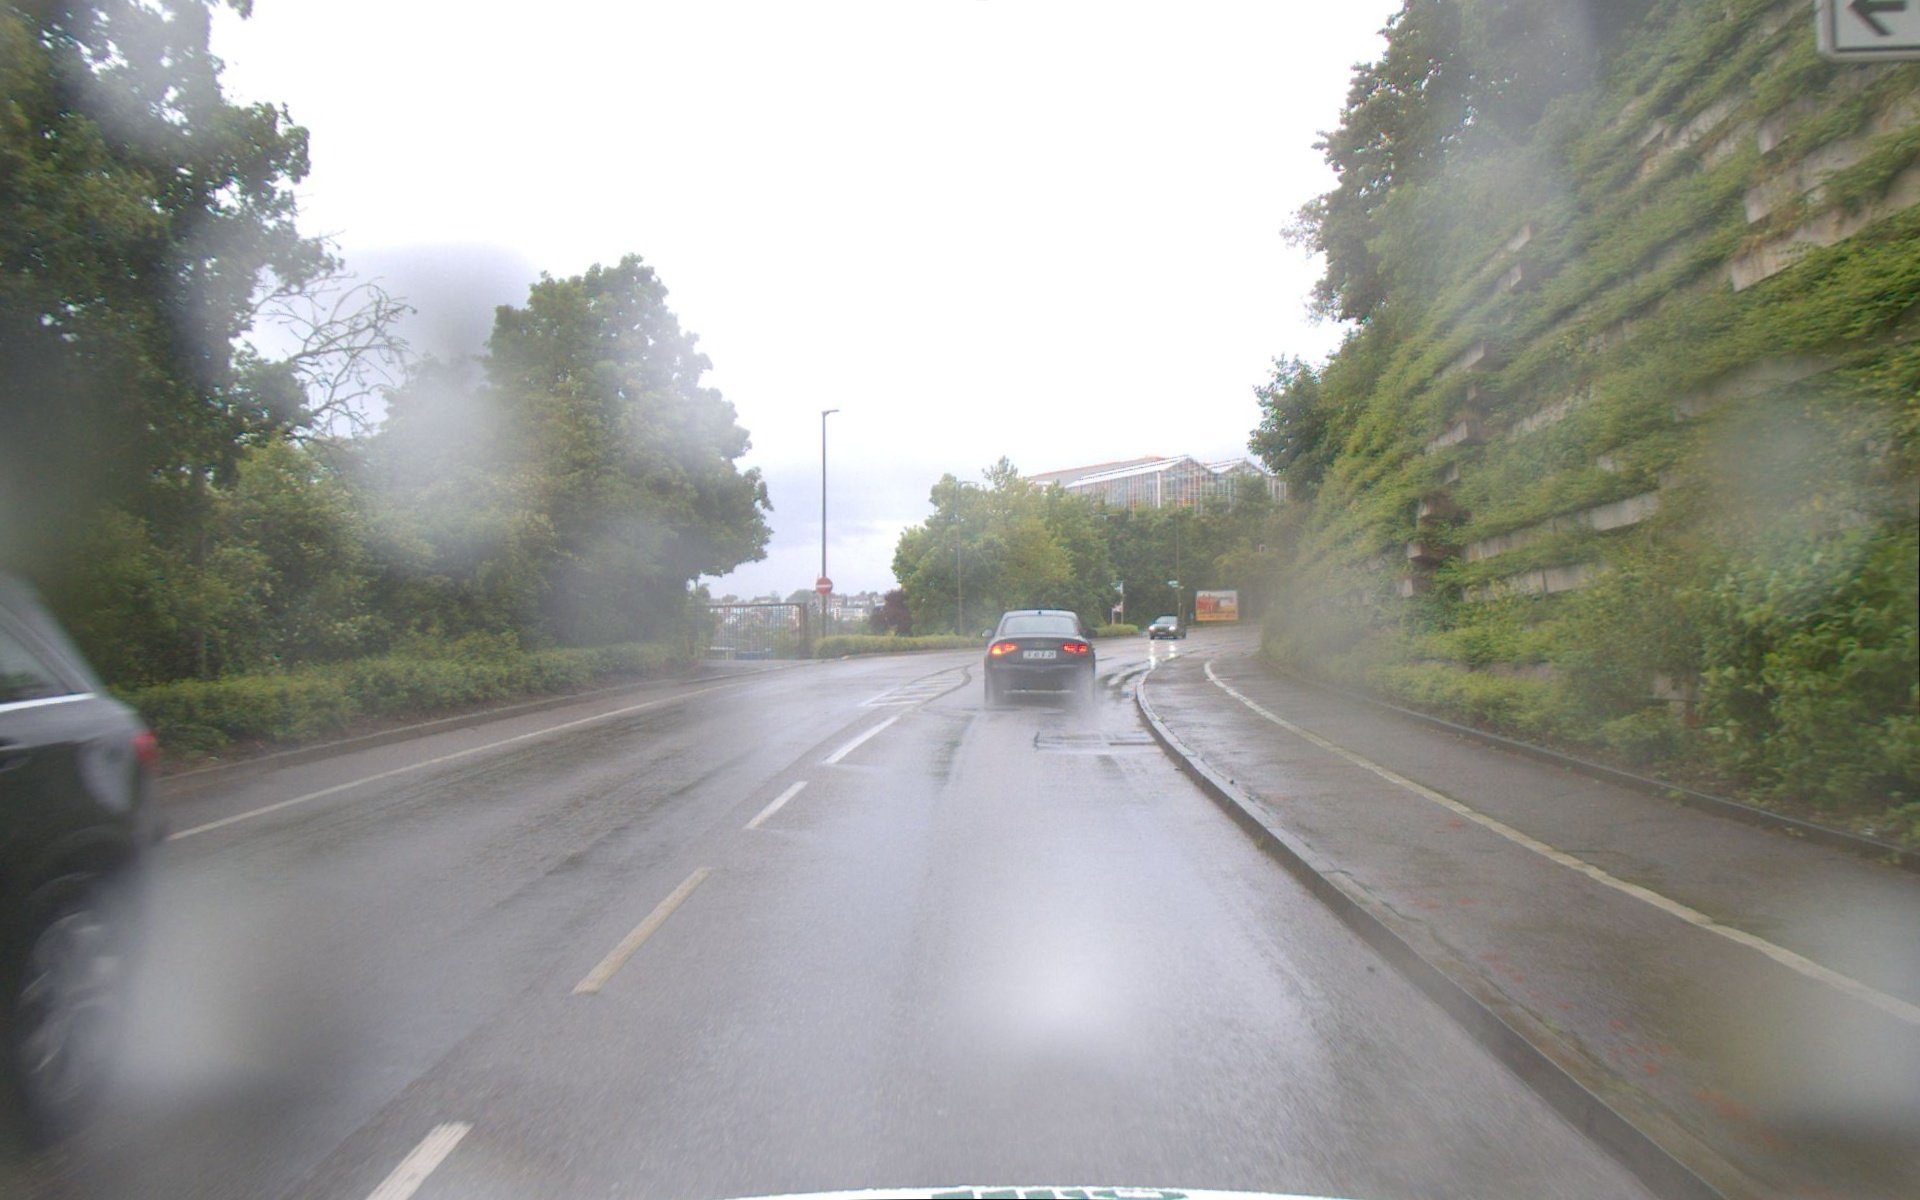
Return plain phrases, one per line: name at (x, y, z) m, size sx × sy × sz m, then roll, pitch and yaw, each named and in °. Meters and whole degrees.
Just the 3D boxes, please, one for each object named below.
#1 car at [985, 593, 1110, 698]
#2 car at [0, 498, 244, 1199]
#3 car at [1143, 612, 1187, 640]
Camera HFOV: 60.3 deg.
car at (1.357, 0.669, 26.808) m, size 1.853 × 1.518 × 4.208 m, roll 1°, pitch 0°, yaw 1°
car at (-3.152, 0.623, 3.067) m, size 1.793 × 1.735 × 4.332 m, roll 1°, pitch 0°, yaw -1°
car at (13.569, 1.689, 109.303) m, size 1.952 × 1.771 × 4.001 m, roll -1°, pitch 0°, yaw 20°
